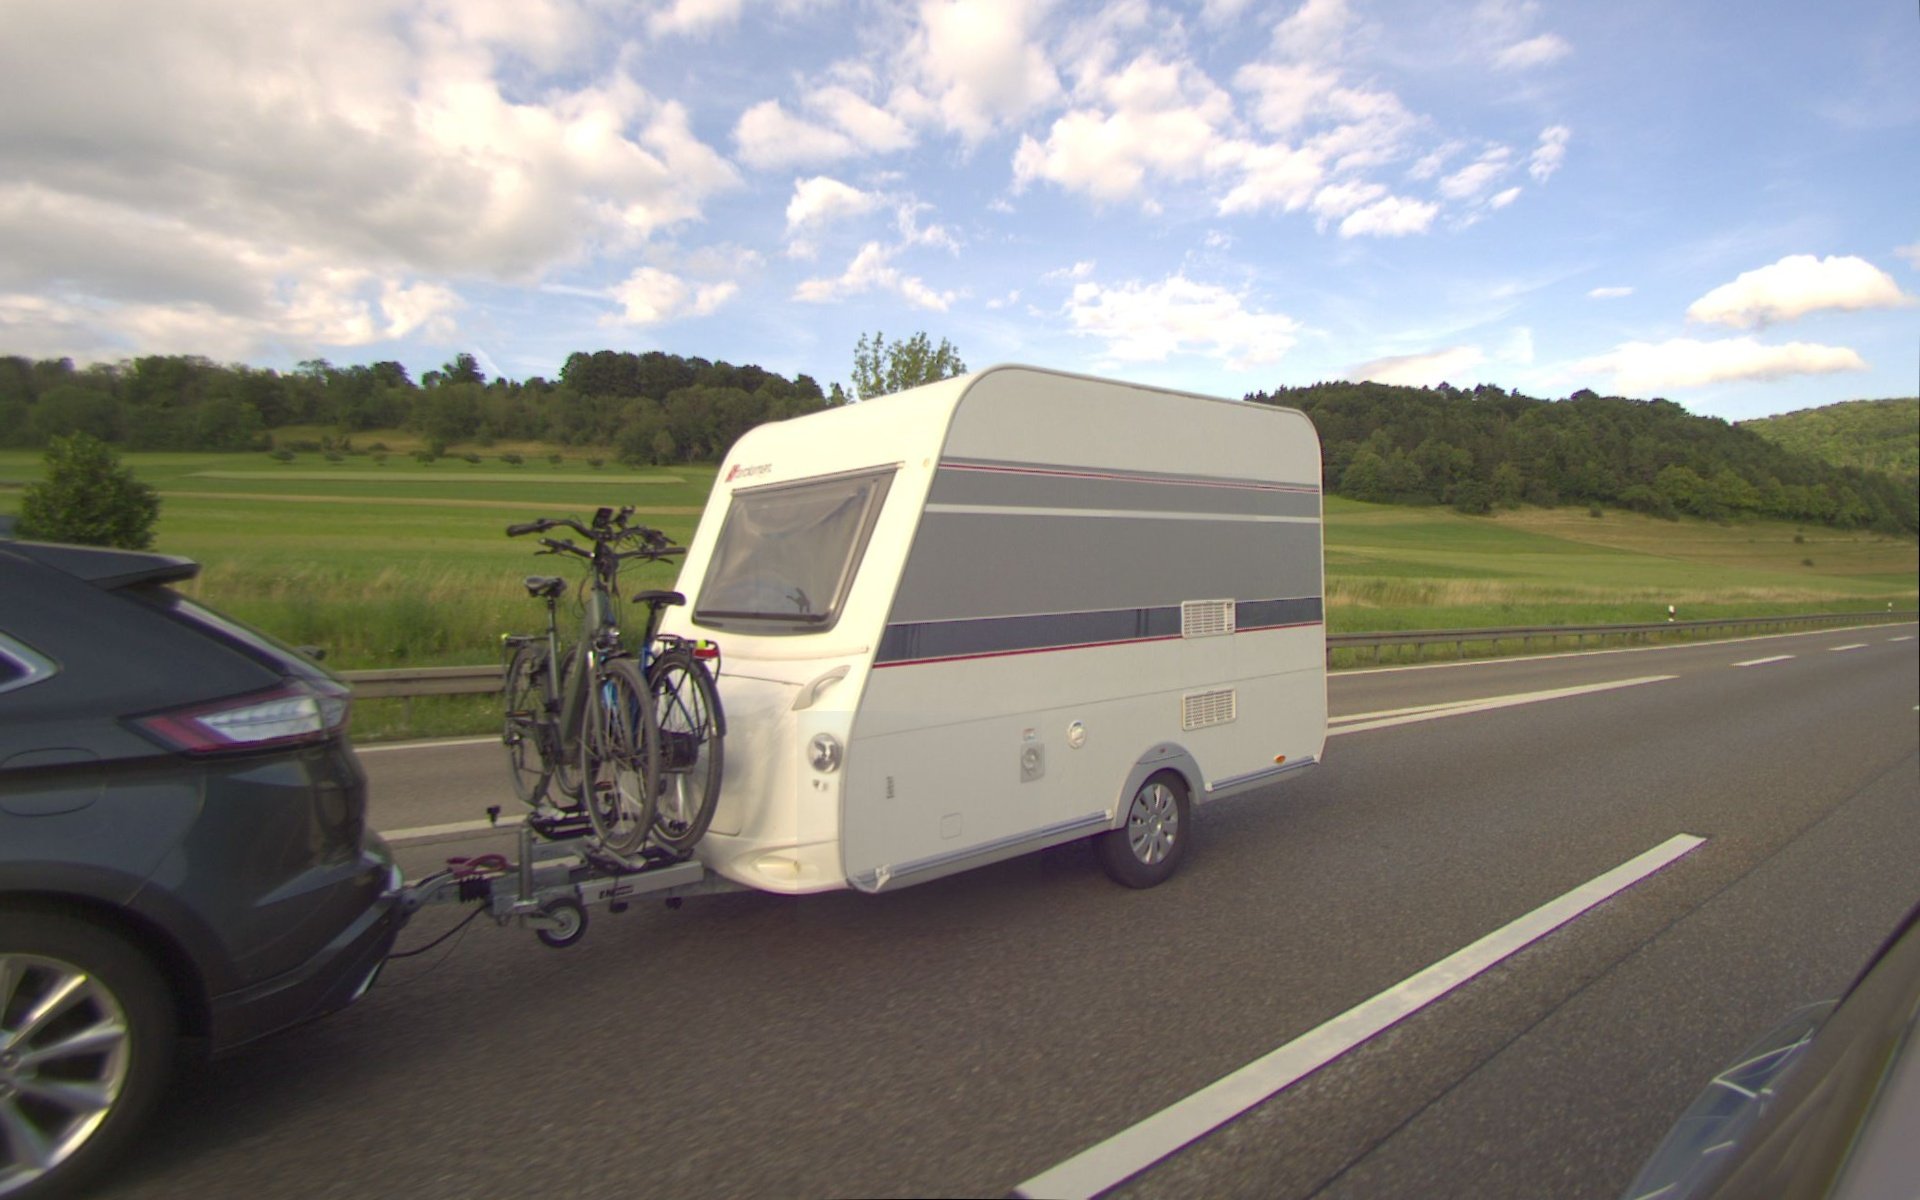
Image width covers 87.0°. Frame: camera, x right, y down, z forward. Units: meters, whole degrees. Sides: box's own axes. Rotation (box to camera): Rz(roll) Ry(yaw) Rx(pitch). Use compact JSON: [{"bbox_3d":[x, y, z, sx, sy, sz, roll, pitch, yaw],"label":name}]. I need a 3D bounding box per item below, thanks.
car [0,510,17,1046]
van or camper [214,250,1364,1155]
[{"bbox_3d":[-4.447,0.570,1.473,4.403,1.673,1.789,0,1,-41],"label":"car"},{"bbox_3d":[-0.532,0.266,5.190,5.232,2.268,2.553,0,-2,-39],"label":"van or camper"}]
